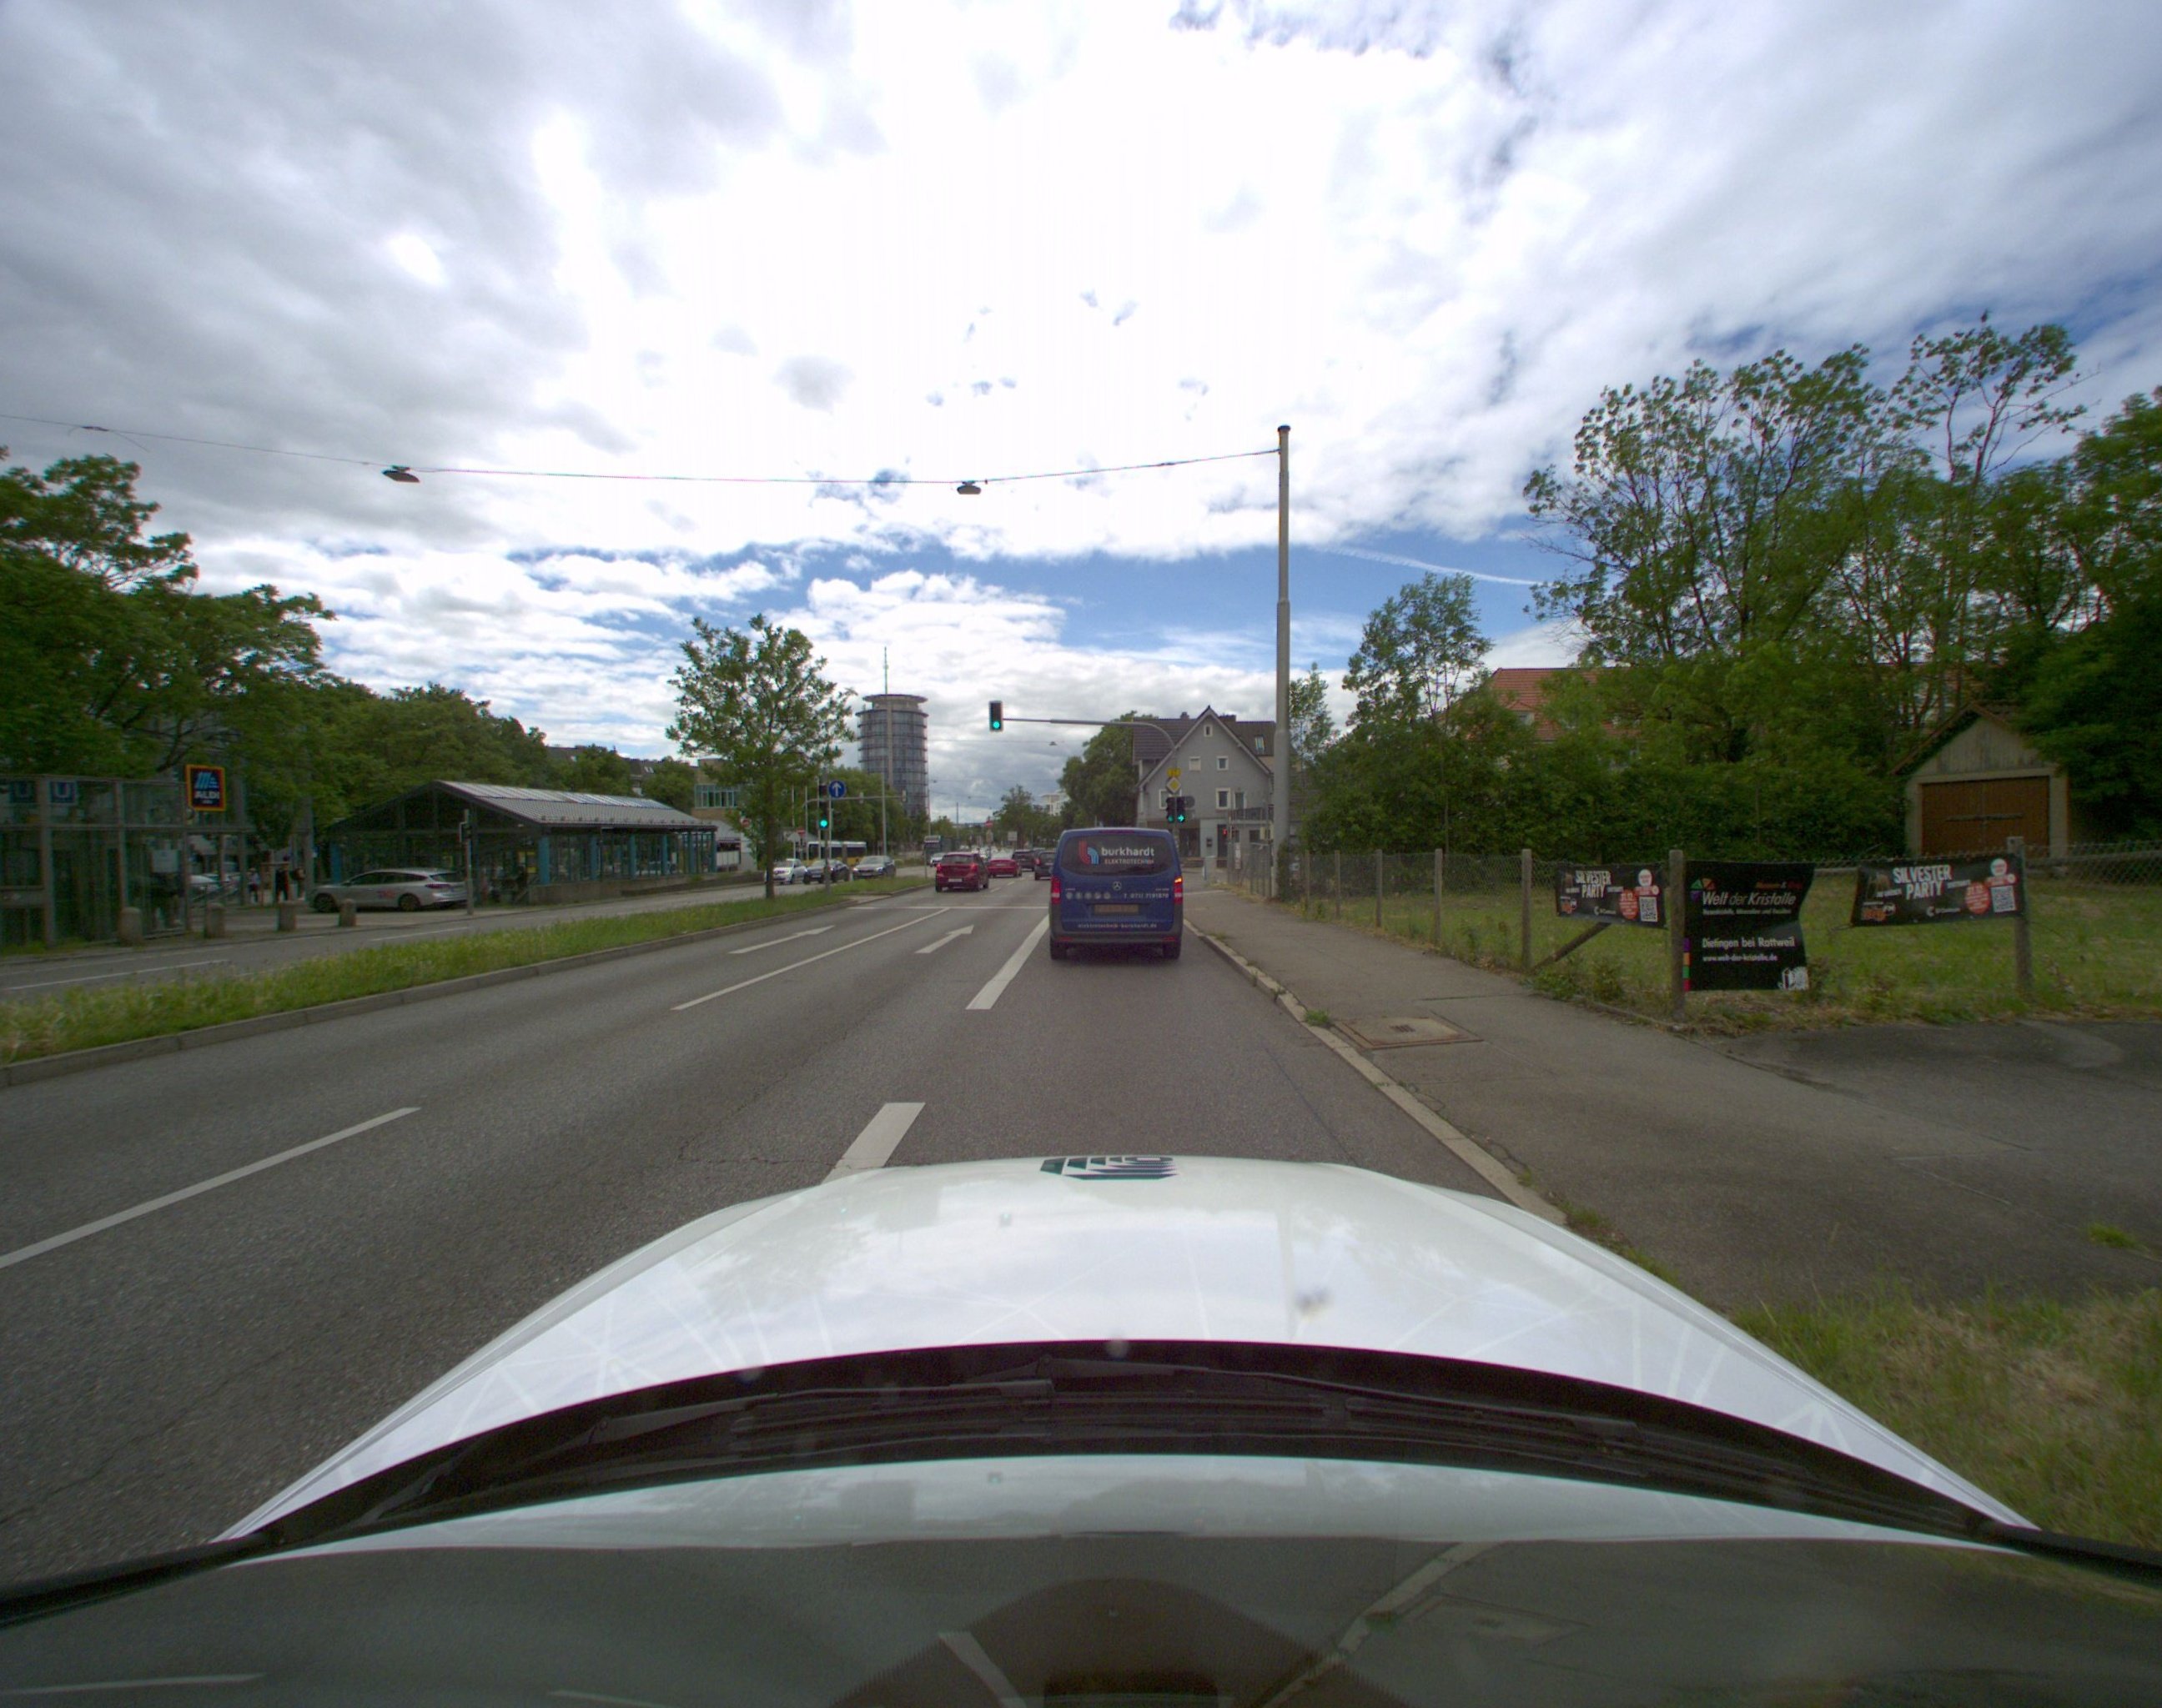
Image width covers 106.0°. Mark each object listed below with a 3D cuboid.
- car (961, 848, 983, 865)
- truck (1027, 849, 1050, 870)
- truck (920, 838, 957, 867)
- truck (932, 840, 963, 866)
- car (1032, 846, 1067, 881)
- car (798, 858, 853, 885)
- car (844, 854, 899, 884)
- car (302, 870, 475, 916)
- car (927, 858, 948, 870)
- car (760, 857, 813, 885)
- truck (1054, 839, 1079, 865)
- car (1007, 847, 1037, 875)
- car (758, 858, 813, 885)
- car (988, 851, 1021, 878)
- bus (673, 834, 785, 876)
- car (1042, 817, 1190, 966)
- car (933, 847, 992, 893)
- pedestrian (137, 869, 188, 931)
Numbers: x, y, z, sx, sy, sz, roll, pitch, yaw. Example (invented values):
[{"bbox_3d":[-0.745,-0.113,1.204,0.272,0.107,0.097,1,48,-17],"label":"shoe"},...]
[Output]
[{"bbox_3d":[-13.172,0.287,98.601,1.986,2.013,4.181,-2,0,2],"label":"car"},{"bbox_3d":[-4.470,0.559,86.714,1.986,2.165,5.561,1,0,1],"label":"truck"},{"bbox_3d":[-19.270,-0.210,110.876,3.359,3.727,11.272,0,0,-2],"label":"truck"},{"bbox_3d":[-19.873,-0.133,121.685,3.358,3.727,8.024,-2,0,-1],"label":"truck"},{"bbox_3d":[-1.646,0.475,43.531,1.742,1.723,3.997,-1,0,-2],"label":"car"},{"bbox_3d":[-14.915,0.977,47.843,1.809,1.398,5.005,-3,0,-3],"label":"car"},{"bbox_3d":[-12.036,0.817,47.083,1.988,1.574,4.514,-2,0,-1],"label":"car"},{"bbox_3d":[-23.487,1.294,27.799,3.989,1.354,1.992,-1,0,-11],"label":"car"},{"bbox_3d":[-16.538,1.117,93.827,1.825,1.262,3.997,-2,0,-2],"label":"car"},{"bbox_3d":[-17.784,1.015,49.392,1.618,1.574,4.002,-2,0,2],"label":"car"},{"bbox_3d":[-1.231,-0.178,72.457,1.986,2.165,5.561,1,0,1],"label":"truck"},{"bbox_3d":[-4.503,0.483,61.856,1.992,2.013,3.990,0,1,-8],"label":"car"},{"bbox_3d":[-17.851,1.024,49.366,1.741,1.517,4.001,-1,0,1],"label":"car"},{"bbox_3d":[-4.570,0.621,48.483,1.866,1.486,3.992,-1,0,-6],"label":"car"},{"bbox_3d":[-28.709,0.080,67.413,2.942,3.133,12.179,0,0,6],"label":"bus"},{"bbox_3d":[0.553,0.492,13.011,1.940,1.965,4.544,0,0,2],"label":"car"},{"bbox_3d":[-4.664,0.573,32.547,1.741,1.723,3.999,0,0,0],"label":"car"},{"bbox_3d":[-22.415,1.112,19.894,0.605,1.458,0.861,1,0,-33],"label":"pedestrian"}]
